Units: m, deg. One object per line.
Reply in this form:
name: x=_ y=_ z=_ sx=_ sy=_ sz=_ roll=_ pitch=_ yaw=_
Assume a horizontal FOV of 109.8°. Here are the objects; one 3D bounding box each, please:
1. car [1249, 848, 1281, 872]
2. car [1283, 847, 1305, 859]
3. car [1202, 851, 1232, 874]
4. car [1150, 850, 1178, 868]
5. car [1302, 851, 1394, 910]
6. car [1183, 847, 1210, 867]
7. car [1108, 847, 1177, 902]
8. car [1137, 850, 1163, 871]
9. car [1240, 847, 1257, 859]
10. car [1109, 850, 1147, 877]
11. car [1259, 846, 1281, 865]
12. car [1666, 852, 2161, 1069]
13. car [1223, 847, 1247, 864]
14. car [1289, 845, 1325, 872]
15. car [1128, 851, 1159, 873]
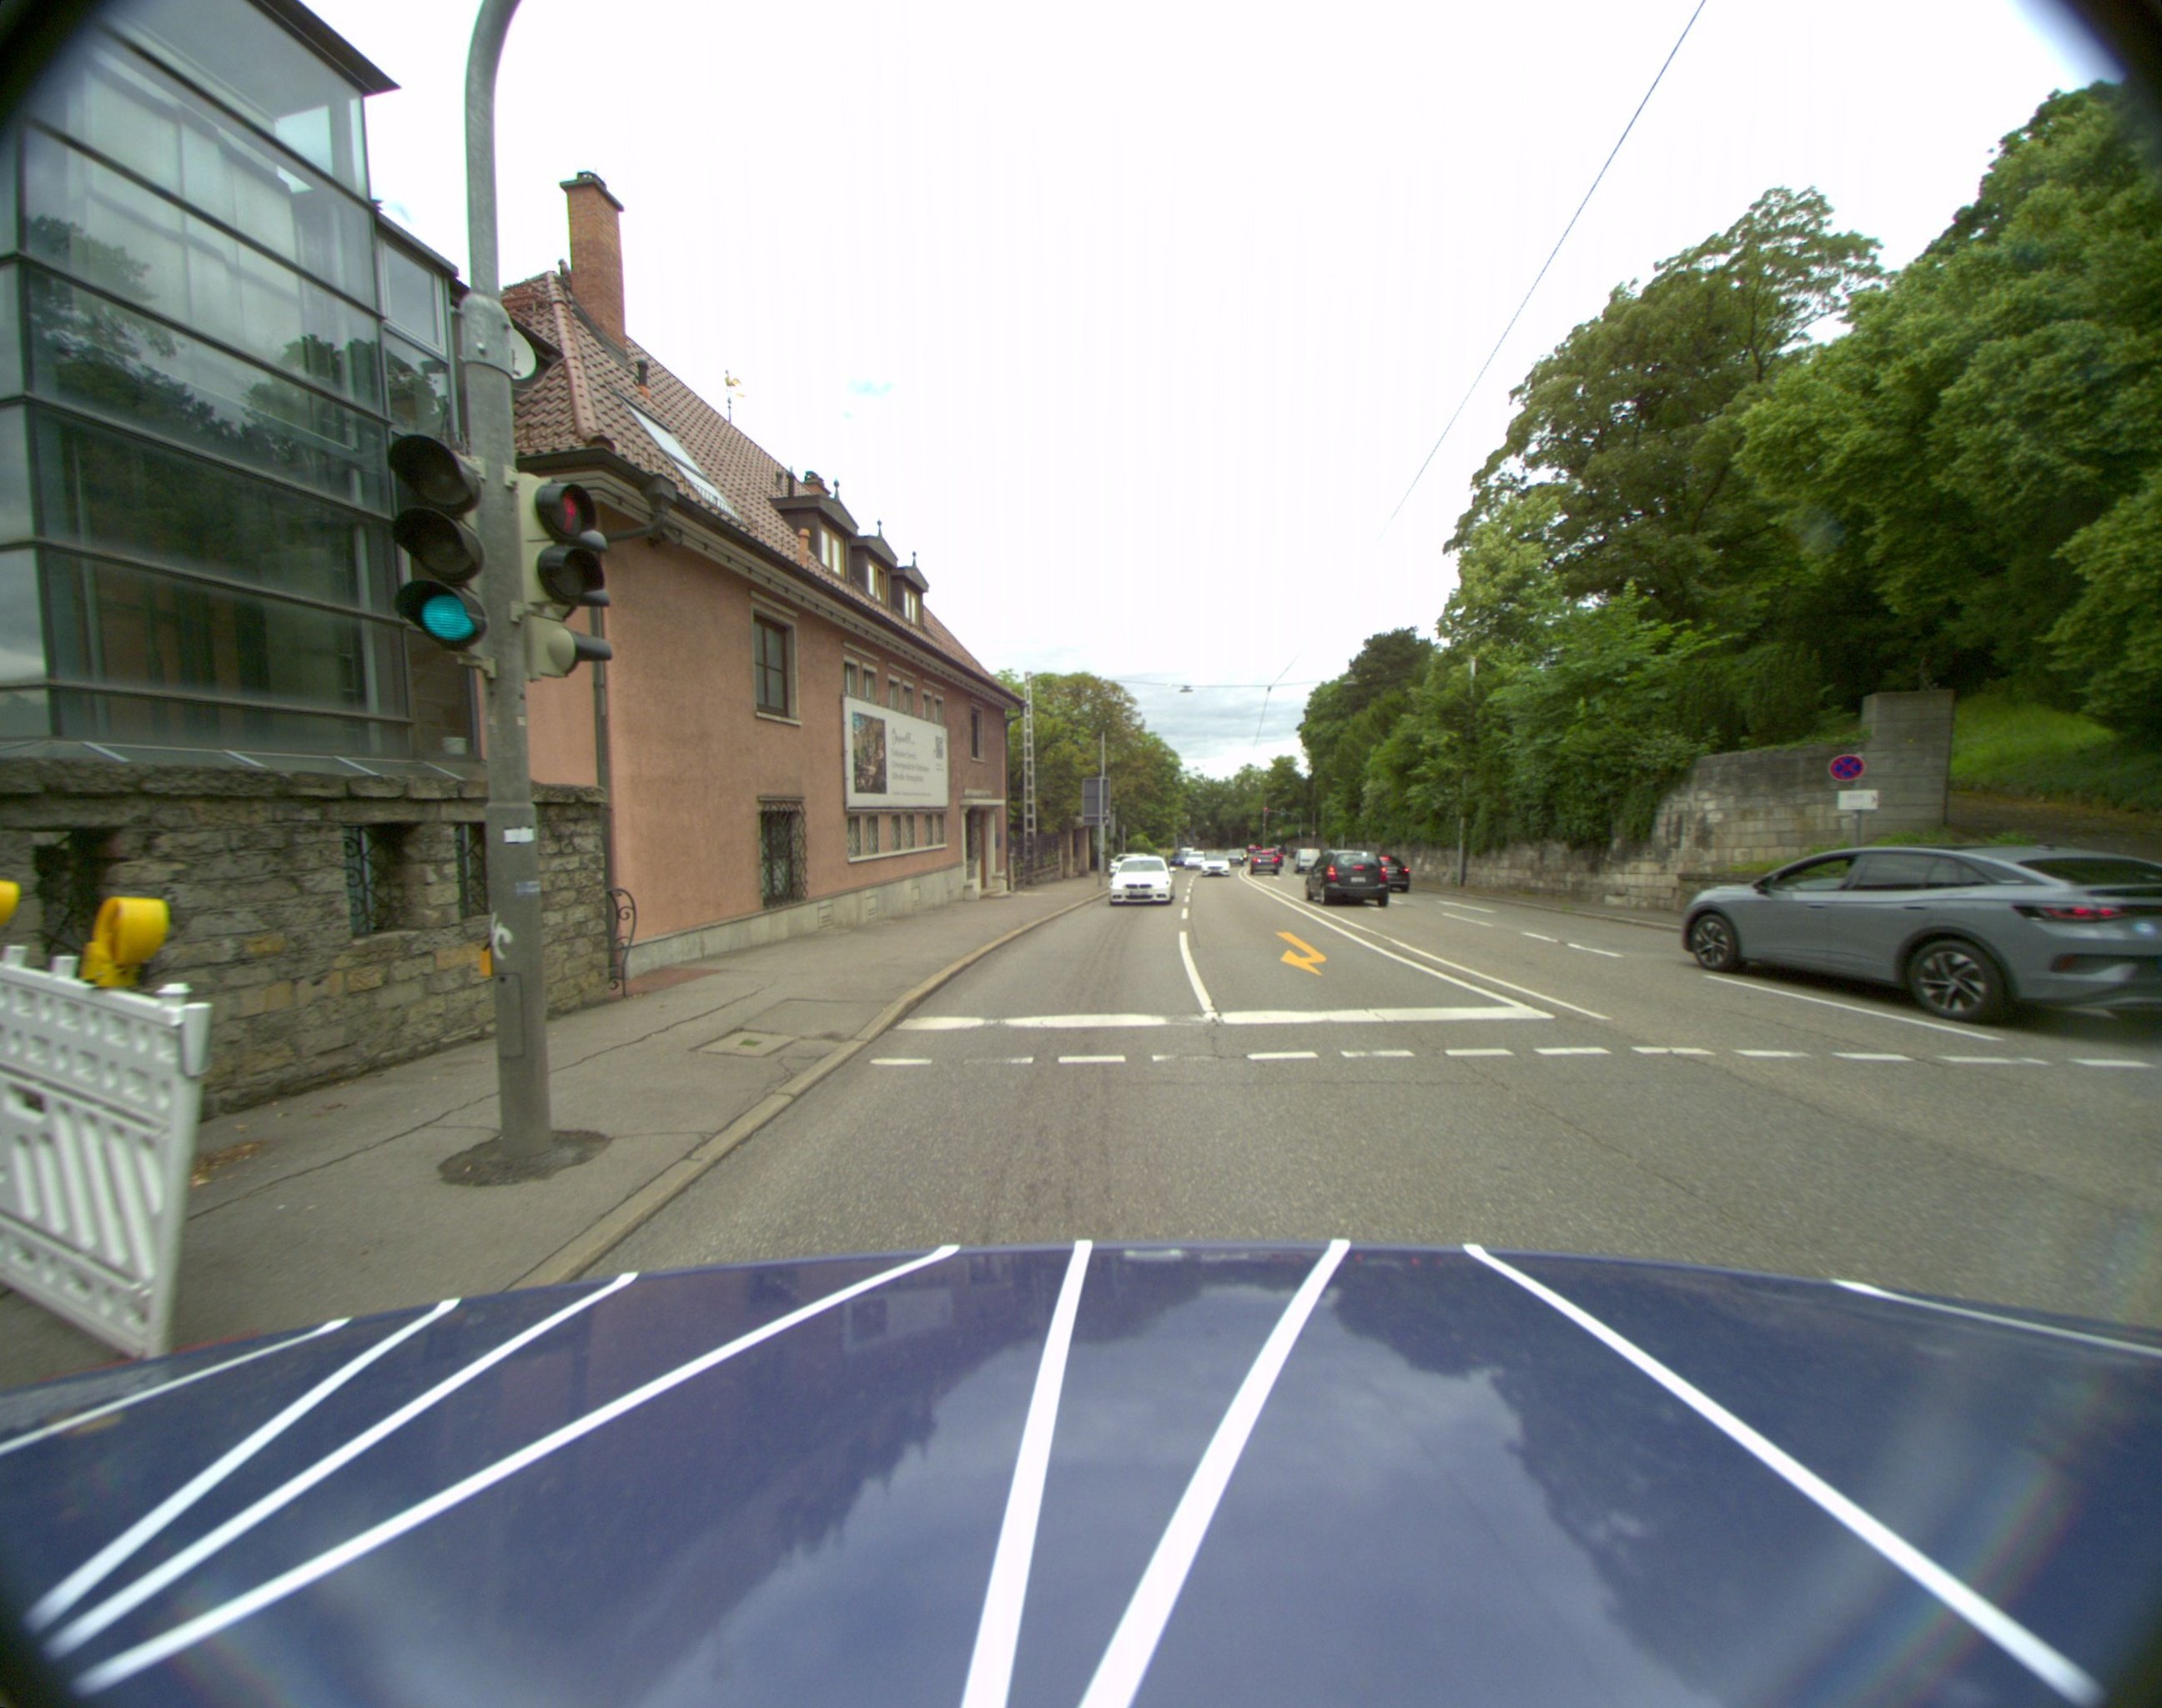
car: x=12.708 y=0.404 z=52.733 sx=1.852 sy=1.623 sz=4.364 roll=0 pitch=0 yaw=10
car: x=26.935 y=-0.193 z=96.125 sx=1.847 sy=1.401 sz=4.456 roll=1 pitch=1 yaw=4
car: x=8.802 y=0.548 z=49.364 sx=1.801 sy=1.382 sz=3.530 roll=0 pitch=0 yaw=9
car: x=7.092 y=0.403 z=64.832 sx=1.772 sy=1.390 sz=4.556 roll=0 pitch=0 yaw=14
car: x=7.687 y=0.698 z=22.213 sx=1.758 sy=1.557 sz=3.681 roll=1 pitch=1 yaw=7
car: x=10.282 y=0.243 z=67.668 sx=1.957 sy=1.761 sz=4.000 roll=0 pitch=0 yaw=3
car: x=2.067 y=0.576 z=24.234 sx=1.821 sy=1.463 sz=4.786 roll=-2 pitch=1 yaw=9
car: x=5.408 y=0.482 z=59.582 sx=1.563 sy=1.414 sz=3.427 roll=3 pitch=2 yaw=12
car: x=20.341 y=-0.151 z=92.418 sx=1.833 sy=1.369 sz=4.003 roll=0 pitch=1 yaw=10
car: x=2.894 y=0.530 z=45.915 sx=1.678 sy=1.453 sz=4.369 roll=2 pitch=1 yaw=11
car: x=18.668 y=0.102 z=74.994 sx=1.962 sy=1.740 sz=4.883 roll=1 pitch=2 yaw=15
car: x=8.726 y=0.808 z=7.889 sx=1.998 sy=1.598 sz=4.477 roll=2 pitch=1 yaw=3
car: x=15.482 y=0.134 z=76.690 sx=1.957 sy=1.730 sz=4.001 roll=0 pitch=0 yaw=6
car: x=16.694 y=0.288 z=56.279 sx=1.896 sy=1.837 sz=4.399 roll=1 pitch=1 yaw=9
car: x=4.379 y=0.505 z=52.619 sx=1.718 sy=1.463 sz=4.041 roll=1 pitch=0 yaw=10
